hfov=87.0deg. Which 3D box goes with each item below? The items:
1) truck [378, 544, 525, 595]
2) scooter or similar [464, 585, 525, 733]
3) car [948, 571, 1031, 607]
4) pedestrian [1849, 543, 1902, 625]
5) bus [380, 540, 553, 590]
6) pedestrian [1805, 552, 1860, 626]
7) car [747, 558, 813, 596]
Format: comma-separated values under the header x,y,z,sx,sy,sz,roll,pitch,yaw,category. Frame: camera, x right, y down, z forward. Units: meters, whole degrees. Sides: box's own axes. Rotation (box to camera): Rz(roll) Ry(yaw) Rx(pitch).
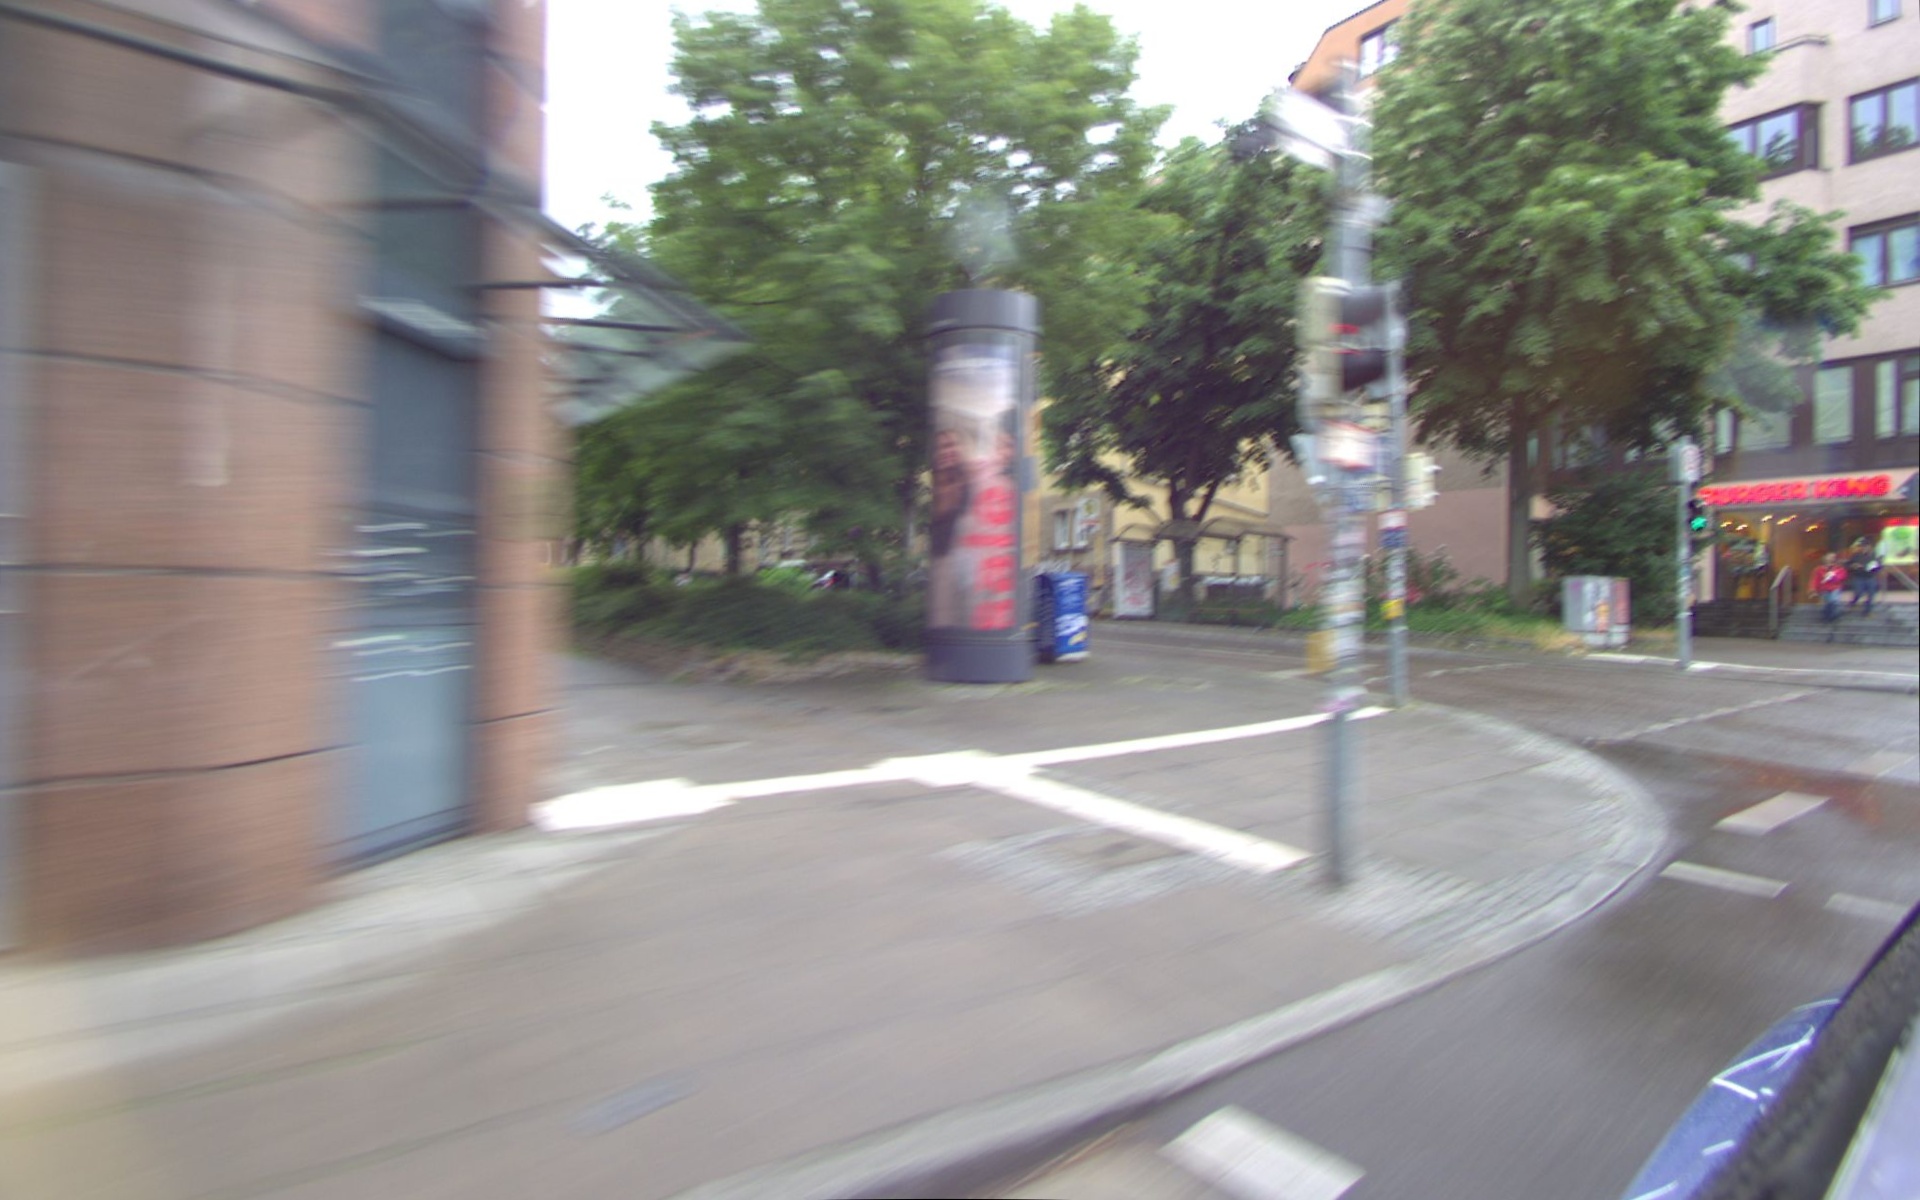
x,y,z,sx,sy,sz,roll,pitch,yaw,category
-24.265,-1.436,48.434,5.972,2.306,2.265,0,1,-37,truck
-4.274,0.490,9.258,0.319,1.242,1.379,0,1,-33,scooter or similar
1.195,-0.495,42.483,1.641,1.474,3.674,-1,2,-35,car
20.869,-0.376,23.071,0.586,1.842,0.667,0,1,5,pedestrian
-31.196,-2.199,64.056,10.339,3.055,2.845,1,1,12,bus
20.047,-0.267,23.259,0.614,1.670,0.725,0,1,5,pedestrian
-10.314,-1.326,57.719,1.818,2.020,5.410,0,2,-32,car
